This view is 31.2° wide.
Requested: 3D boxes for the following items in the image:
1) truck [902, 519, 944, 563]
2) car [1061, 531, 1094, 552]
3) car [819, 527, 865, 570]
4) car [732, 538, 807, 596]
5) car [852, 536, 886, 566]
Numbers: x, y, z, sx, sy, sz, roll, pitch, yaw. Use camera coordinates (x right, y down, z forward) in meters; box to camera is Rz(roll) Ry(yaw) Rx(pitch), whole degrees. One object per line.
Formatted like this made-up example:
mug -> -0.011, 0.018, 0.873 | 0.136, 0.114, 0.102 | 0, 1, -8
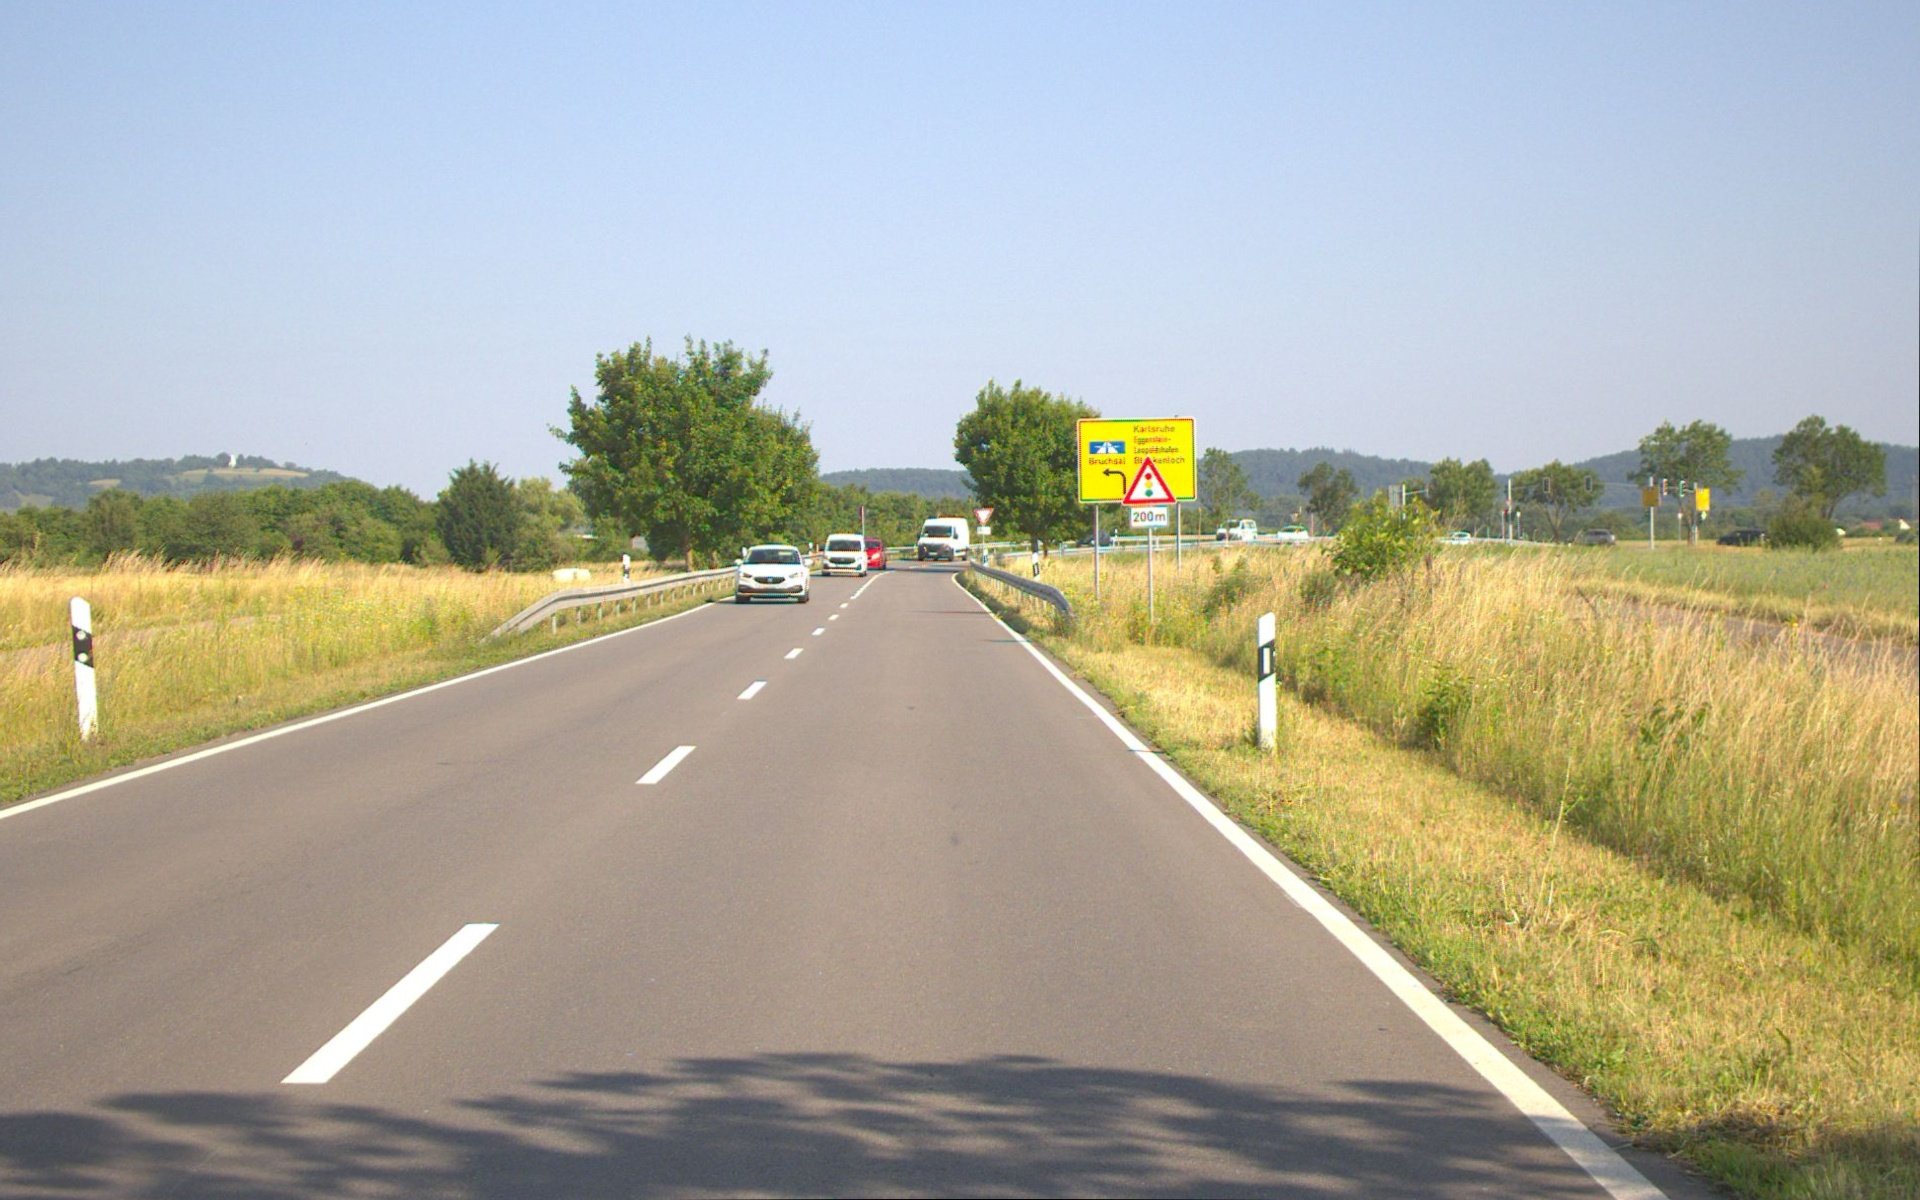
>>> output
truck -> -2.122, -3.452, 200.498 | 1.994, 2.511, 6.243 | 0, 1, 4
car -> 8.099, -4.024, 237.104 | 1.645, 1.466, 3.805 | 1, 1, 12
car -> -5.042, -2.211, 147.174 | 1.836, 1.780, 4.435 | 0, 1, 0
car -> -4.794, -0.851, 86.973 | 1.726, 1.432, 4.517 | 0, 1, -1
car -> -4.497, -2.422, 169.924 | 1.606, 1.483, 3.780 | 0, 1, 0
